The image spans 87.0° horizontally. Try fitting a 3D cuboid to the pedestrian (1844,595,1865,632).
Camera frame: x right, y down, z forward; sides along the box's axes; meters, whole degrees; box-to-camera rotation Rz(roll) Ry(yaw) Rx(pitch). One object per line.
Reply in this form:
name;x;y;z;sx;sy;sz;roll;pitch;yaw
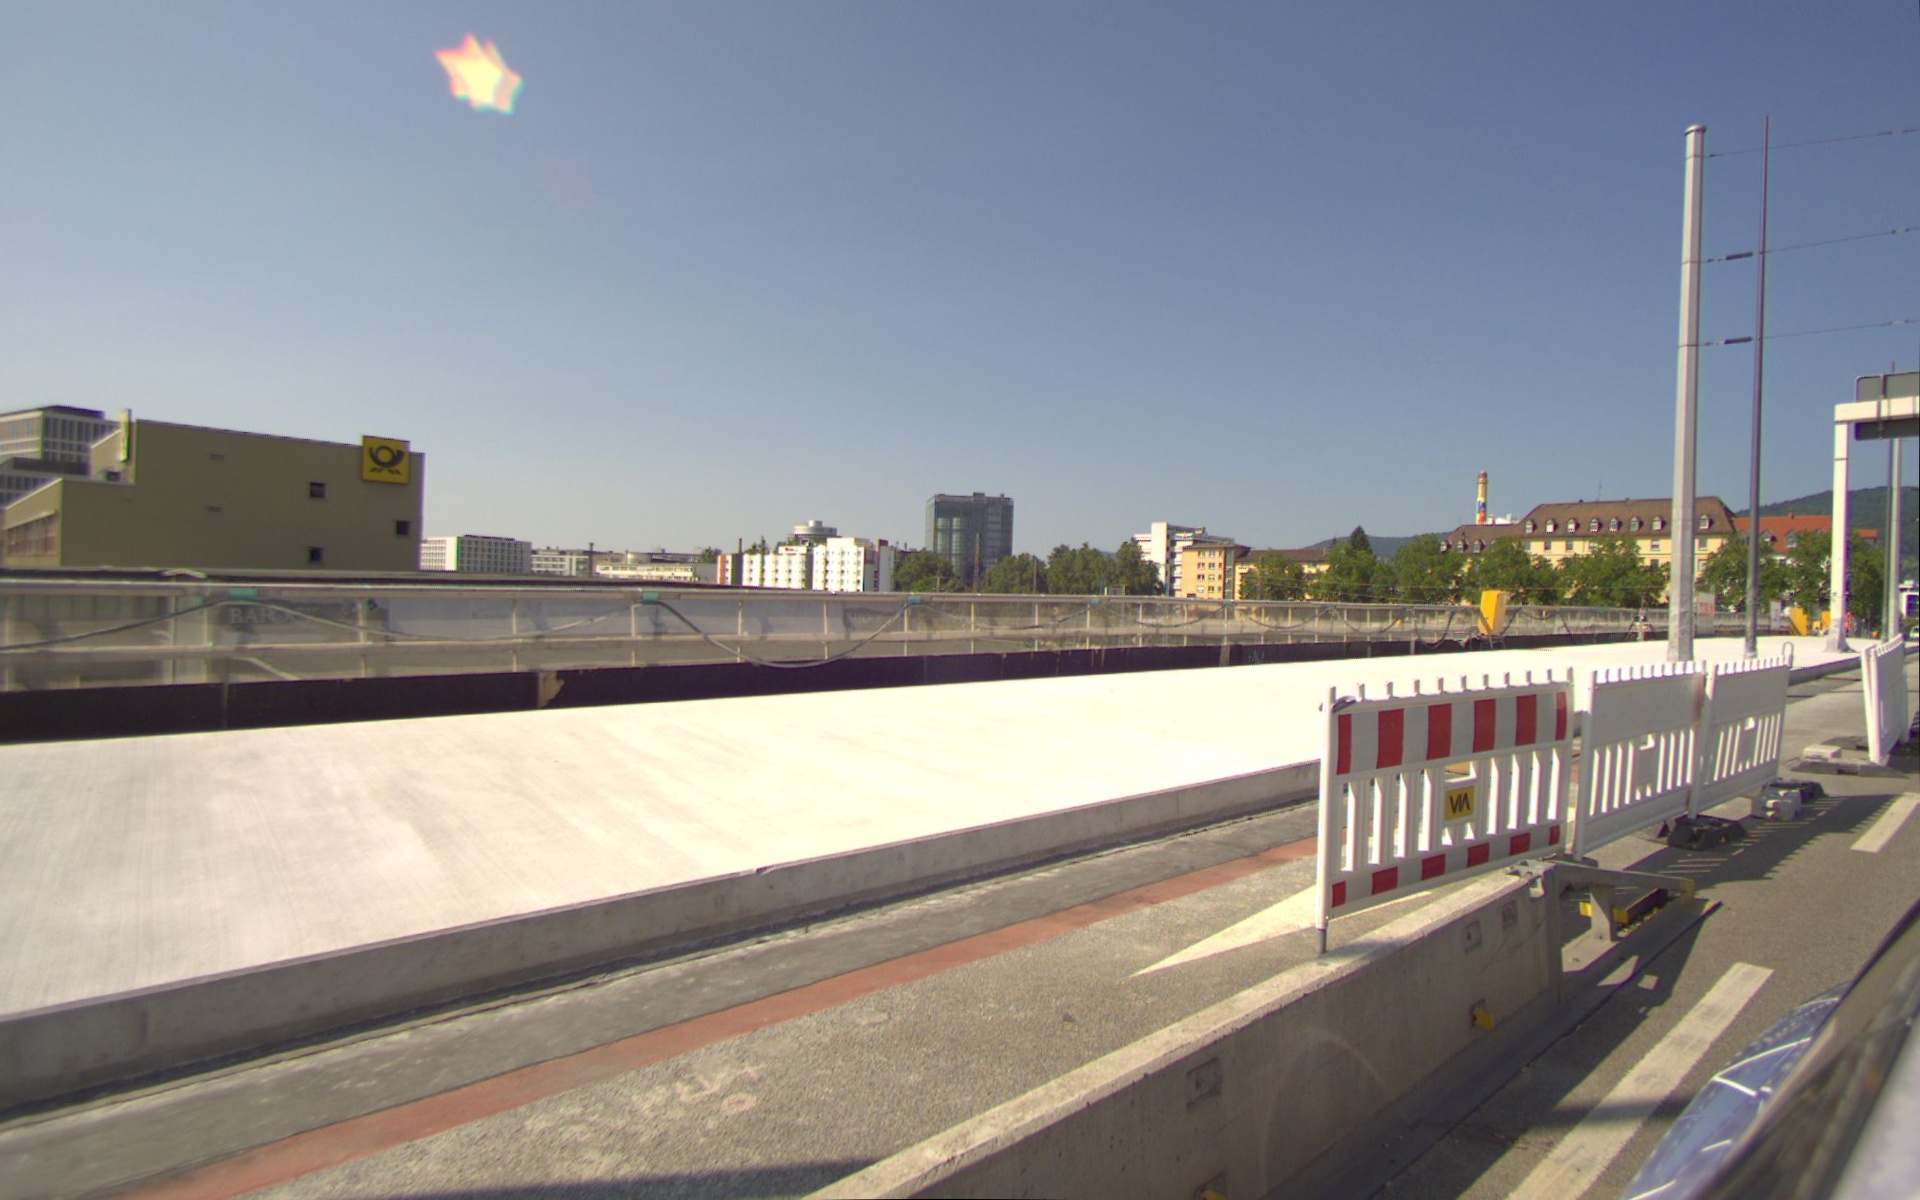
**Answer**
pedestrian;49.087;0.729;55.541;0.999;1.989;0.732;2;1;-44
